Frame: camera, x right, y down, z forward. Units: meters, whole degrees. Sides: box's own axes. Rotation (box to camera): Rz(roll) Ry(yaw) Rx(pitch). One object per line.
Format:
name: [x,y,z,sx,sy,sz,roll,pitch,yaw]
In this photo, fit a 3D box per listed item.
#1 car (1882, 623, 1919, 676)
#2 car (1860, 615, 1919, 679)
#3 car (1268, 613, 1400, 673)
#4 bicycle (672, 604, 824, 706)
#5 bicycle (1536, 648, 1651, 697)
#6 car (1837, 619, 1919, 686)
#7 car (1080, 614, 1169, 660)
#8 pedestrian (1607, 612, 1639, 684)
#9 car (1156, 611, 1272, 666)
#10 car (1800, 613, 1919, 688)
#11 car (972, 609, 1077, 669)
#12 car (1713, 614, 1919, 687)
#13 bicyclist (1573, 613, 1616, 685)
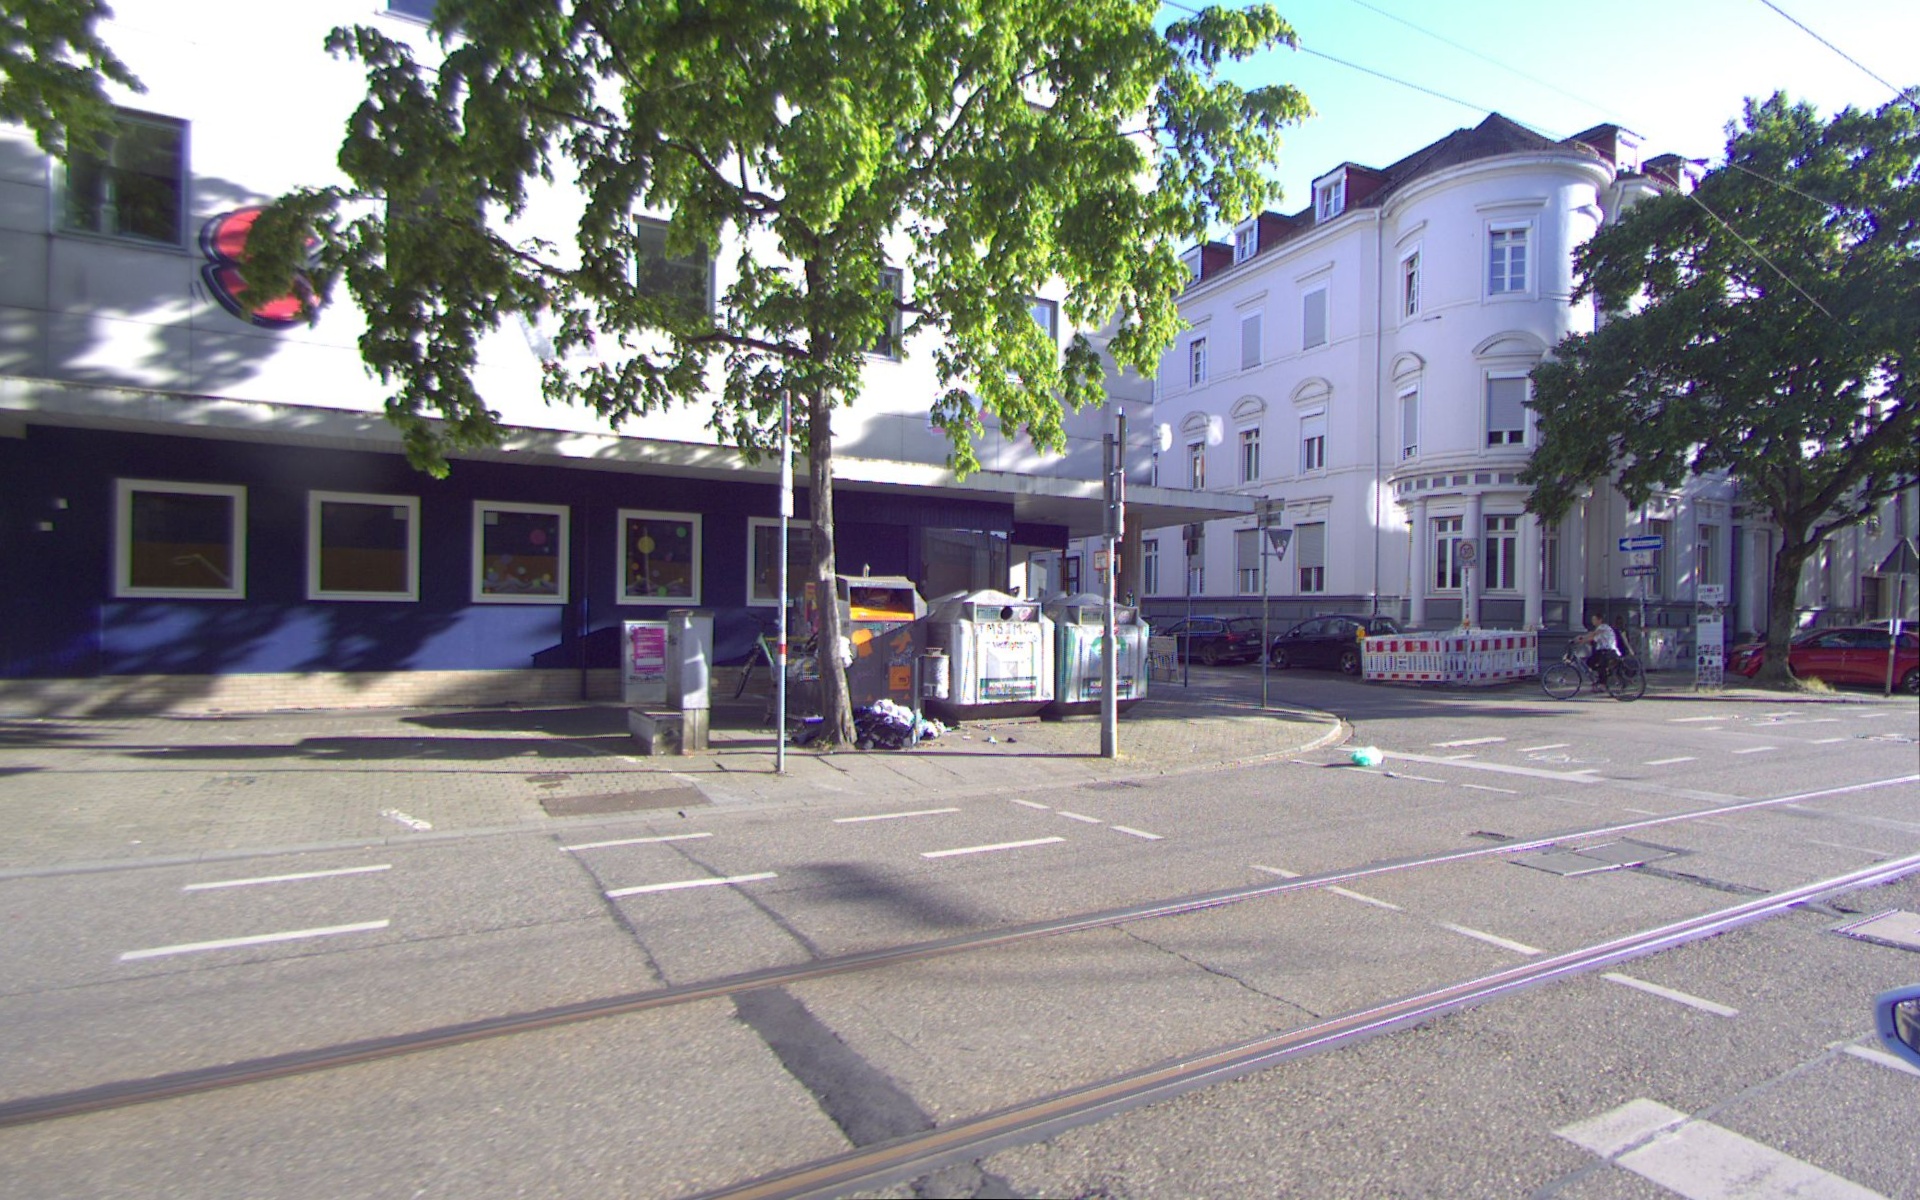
car: [29.618,1.457,29.368,3.617,1.548,1.482,0,-1,26]
car: [27.280,1.291,27.483,3.617,1.744,1.610,0,-1,26]
car: [9.889,1.102,26.739,1.455,1.462,3.230,1,-1,-24]
bicycle: [-2.976,0.761,14.326,2.169,1.361,0.520,1,-1,-44]
bicycle: [12.472,1.425,19.818,1.864,0.893,0.450,0,-1,21]
car: [25.162,1.355,25.895,3.501,1.684,1.735,0,-1,28]
car: [5.777,1.277,35.626,1.505,1.517,3.300,1,-1,-25]
pedestrian: [14.831,1.072,22.478,0.502,1.593,0.346,0,0,-2]
car: [7.761,1.137,30.960,1.455,1.569,3.748,1,-1,-24]
car: [22.865,1.200,24.283,3.617,1.744,1.610,0,-1,26]
car: [1.884,1.140,30.705,1.691,1.606,3.980,1,1,-21]
car: [20.068,1.141,23.343,3.841,1.472,1.636,2,0,27]
bicyclist: [12.498,0.958,19.790,0.628,1.396,0.459,0,-1,21]
